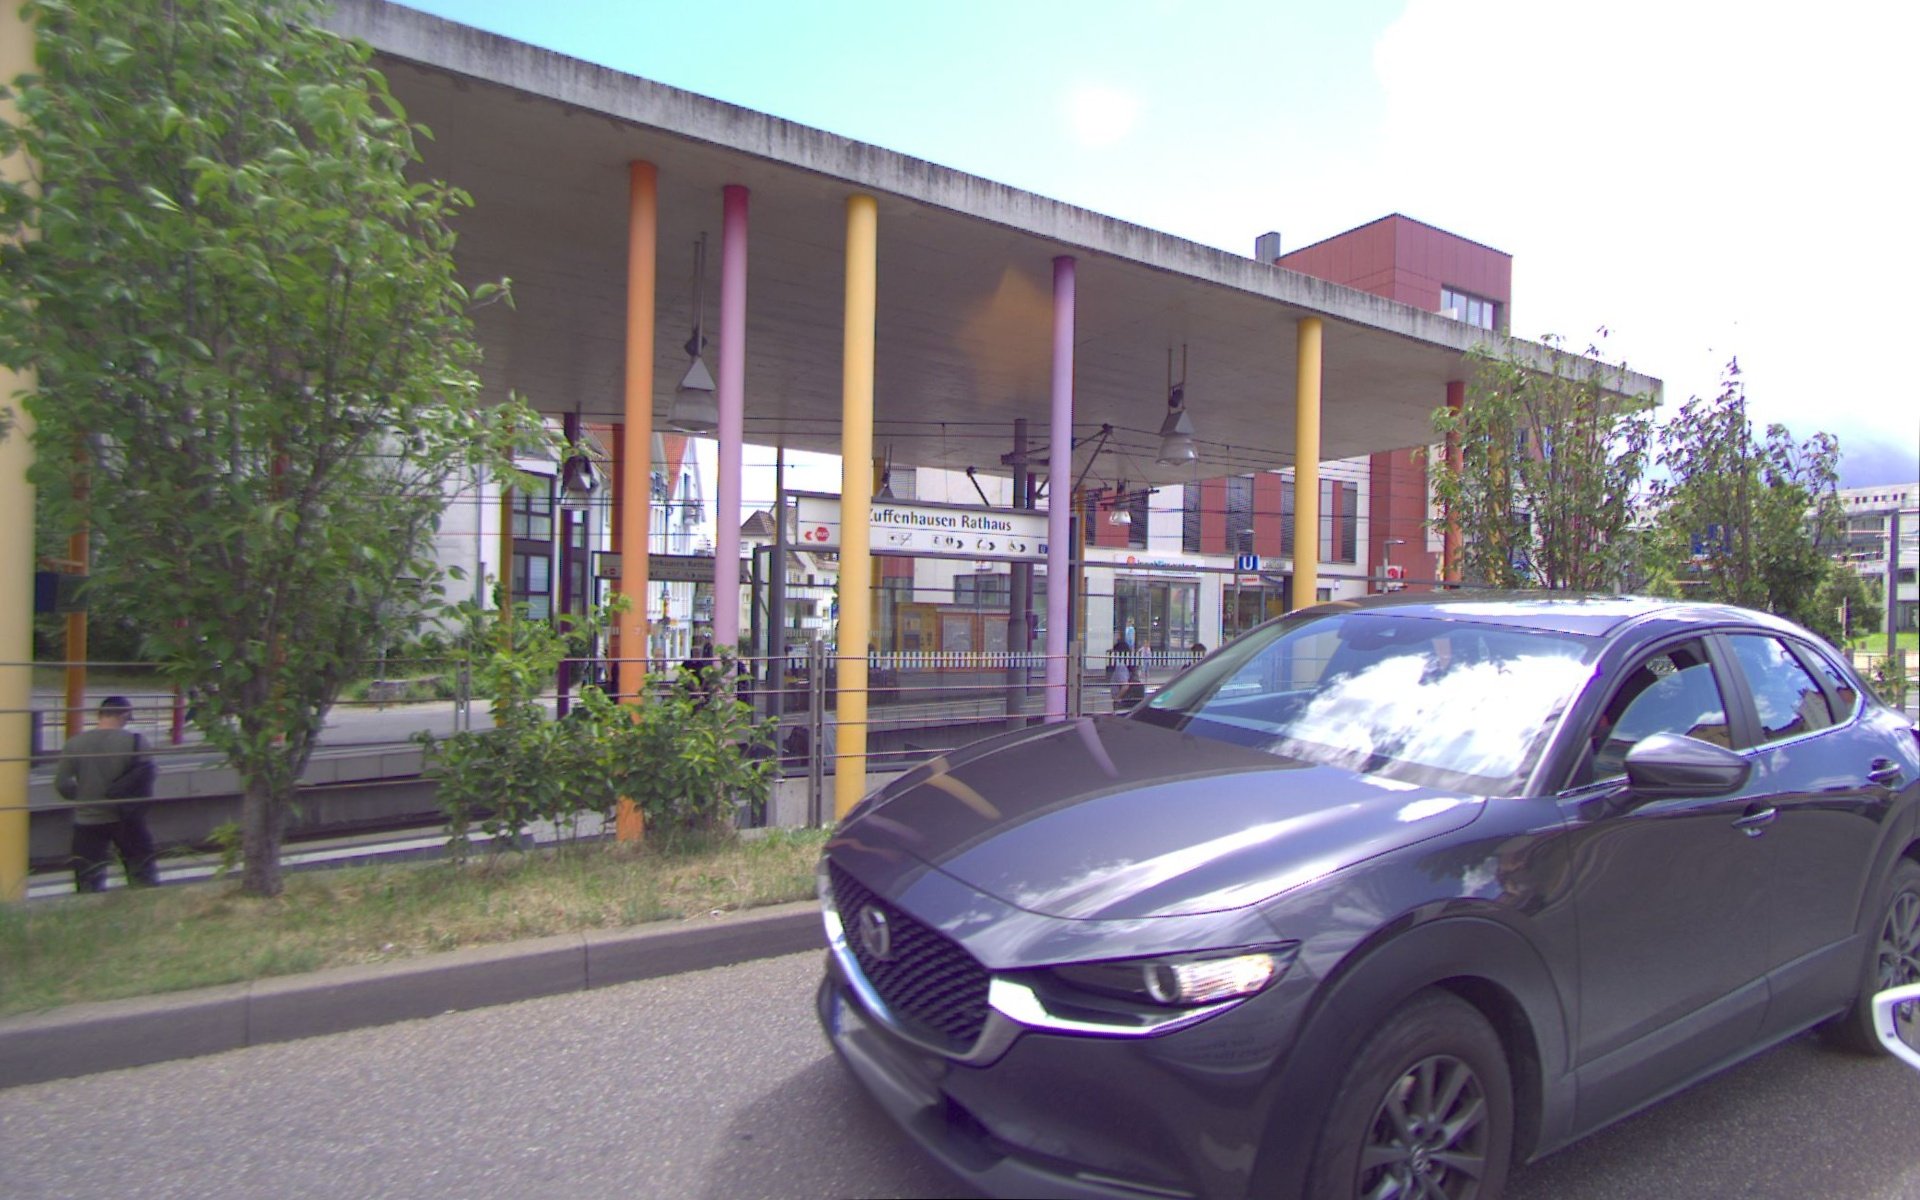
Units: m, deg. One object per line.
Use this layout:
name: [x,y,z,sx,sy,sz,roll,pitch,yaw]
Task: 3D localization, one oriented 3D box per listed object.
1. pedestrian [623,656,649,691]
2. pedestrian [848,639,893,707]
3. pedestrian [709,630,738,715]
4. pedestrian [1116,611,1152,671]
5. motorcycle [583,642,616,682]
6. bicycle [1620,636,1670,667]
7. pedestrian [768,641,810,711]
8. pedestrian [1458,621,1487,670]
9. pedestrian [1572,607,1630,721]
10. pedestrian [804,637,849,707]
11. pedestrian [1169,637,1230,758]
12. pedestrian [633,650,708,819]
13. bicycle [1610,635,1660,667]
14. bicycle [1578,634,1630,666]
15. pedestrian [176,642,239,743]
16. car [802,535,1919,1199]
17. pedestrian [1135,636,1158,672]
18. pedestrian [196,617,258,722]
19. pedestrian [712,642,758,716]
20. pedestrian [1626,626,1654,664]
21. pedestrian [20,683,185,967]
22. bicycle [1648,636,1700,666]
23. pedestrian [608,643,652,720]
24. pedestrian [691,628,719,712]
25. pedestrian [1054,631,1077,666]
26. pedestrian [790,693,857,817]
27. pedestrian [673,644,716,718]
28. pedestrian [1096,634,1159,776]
pedestrian: [-11.629,2.634,36.072,0.693,1.203,0.546,3,0,5]
pedestrian: [-1.939,1.560,21.710,0.693,1.398,0.819,0,1,-29]
pedestrian: [-5.164,1.580,21.919,0.486,1.799,0.480,0,2,-33]
pedestrian: [5.104,1.196,29.454,0.715,1.707,0.681,3,0,-28]
motorcycle: [-12.601,2.164,35.156,0.503,1.356,1.567,0,-2,3]
bicycle: [25.356,1.895,37.203,0.404,1.115,1.500,3,-4,-31]
pedestrian: [-3.564,1.569,20.925,0.693,1.398,0.648,0,1,-29]
pedestrian: [20.151,1.776,39.481,0.730,1.875,0.653,3,0,-29]
pedestrian: [10.934,1.064,17.139,0.725,1.870,0.780,2,2,39]
pedestrian: [-2.825,1.513,21.257,0.693,1.398,0.819,0,1,-29]
pedestrian: [3.209,1.297,13.523,0.741,1.547,0.686,-2,0,12]
pedestrian: [-3.001,1.356,10.394,0.628,1.636,0.626,0,1,-29]
bicycle: [24.717,1.865,36.817,0.404,1.115,1.500,3,-4,-31]
bicycle: [22.911,1.768,35.759,0.404,1.115,1.558,3,-4,-31]
pedestrian: [-13.124,1.608,17.533,0.722,1.684,0.639,3,0,-30]
car: [1.760,0.686,3.478,4.205,1.541,1.716,2,1,-31]
pedestrian: [5.359,1.549,28.868,0.486,1.003,0.362,3,0,-28]
pedestrian: [-13.782,1.303,18.913,0.791,1.908,0.639,3,0,-30]
pedestrian: [-4.575,1.586,20.390,0.693,1.398,0.922,0,1,-29]
pedestrian: [30.057,1.996,44.383,0.843,1.592,0.856,3,0,44]
pedestrian: [-6.078,1.549,7.161,0.701,1.854,0.584,3,0,-28]
bicycle: [27.246,1.955,38.336,0.509,1.115,1.558,3,-4,-31]
pedestrian: [-6.380,1.552,19.412,0.696,1.398,0.683,0,1,-29]
pedestrian: [-5.766,1.572,22.719,0.486,1.845,0.480,0,2,-33]
pedestrian: [3.165,1.456,30.168,0.555,1.036,0.362,3,0,-28]
pedestrian: [-1.350,1.510,9.916,0.478,1.097,0.562,0,2,-30]
pedestrian: [-5.298,1.604,20.020,0.693,1.398,0.648,0,1,-29]
pedestrian: [2.061,1.272,12.380,0.544,1.655,0.526,-1,2,-45]
